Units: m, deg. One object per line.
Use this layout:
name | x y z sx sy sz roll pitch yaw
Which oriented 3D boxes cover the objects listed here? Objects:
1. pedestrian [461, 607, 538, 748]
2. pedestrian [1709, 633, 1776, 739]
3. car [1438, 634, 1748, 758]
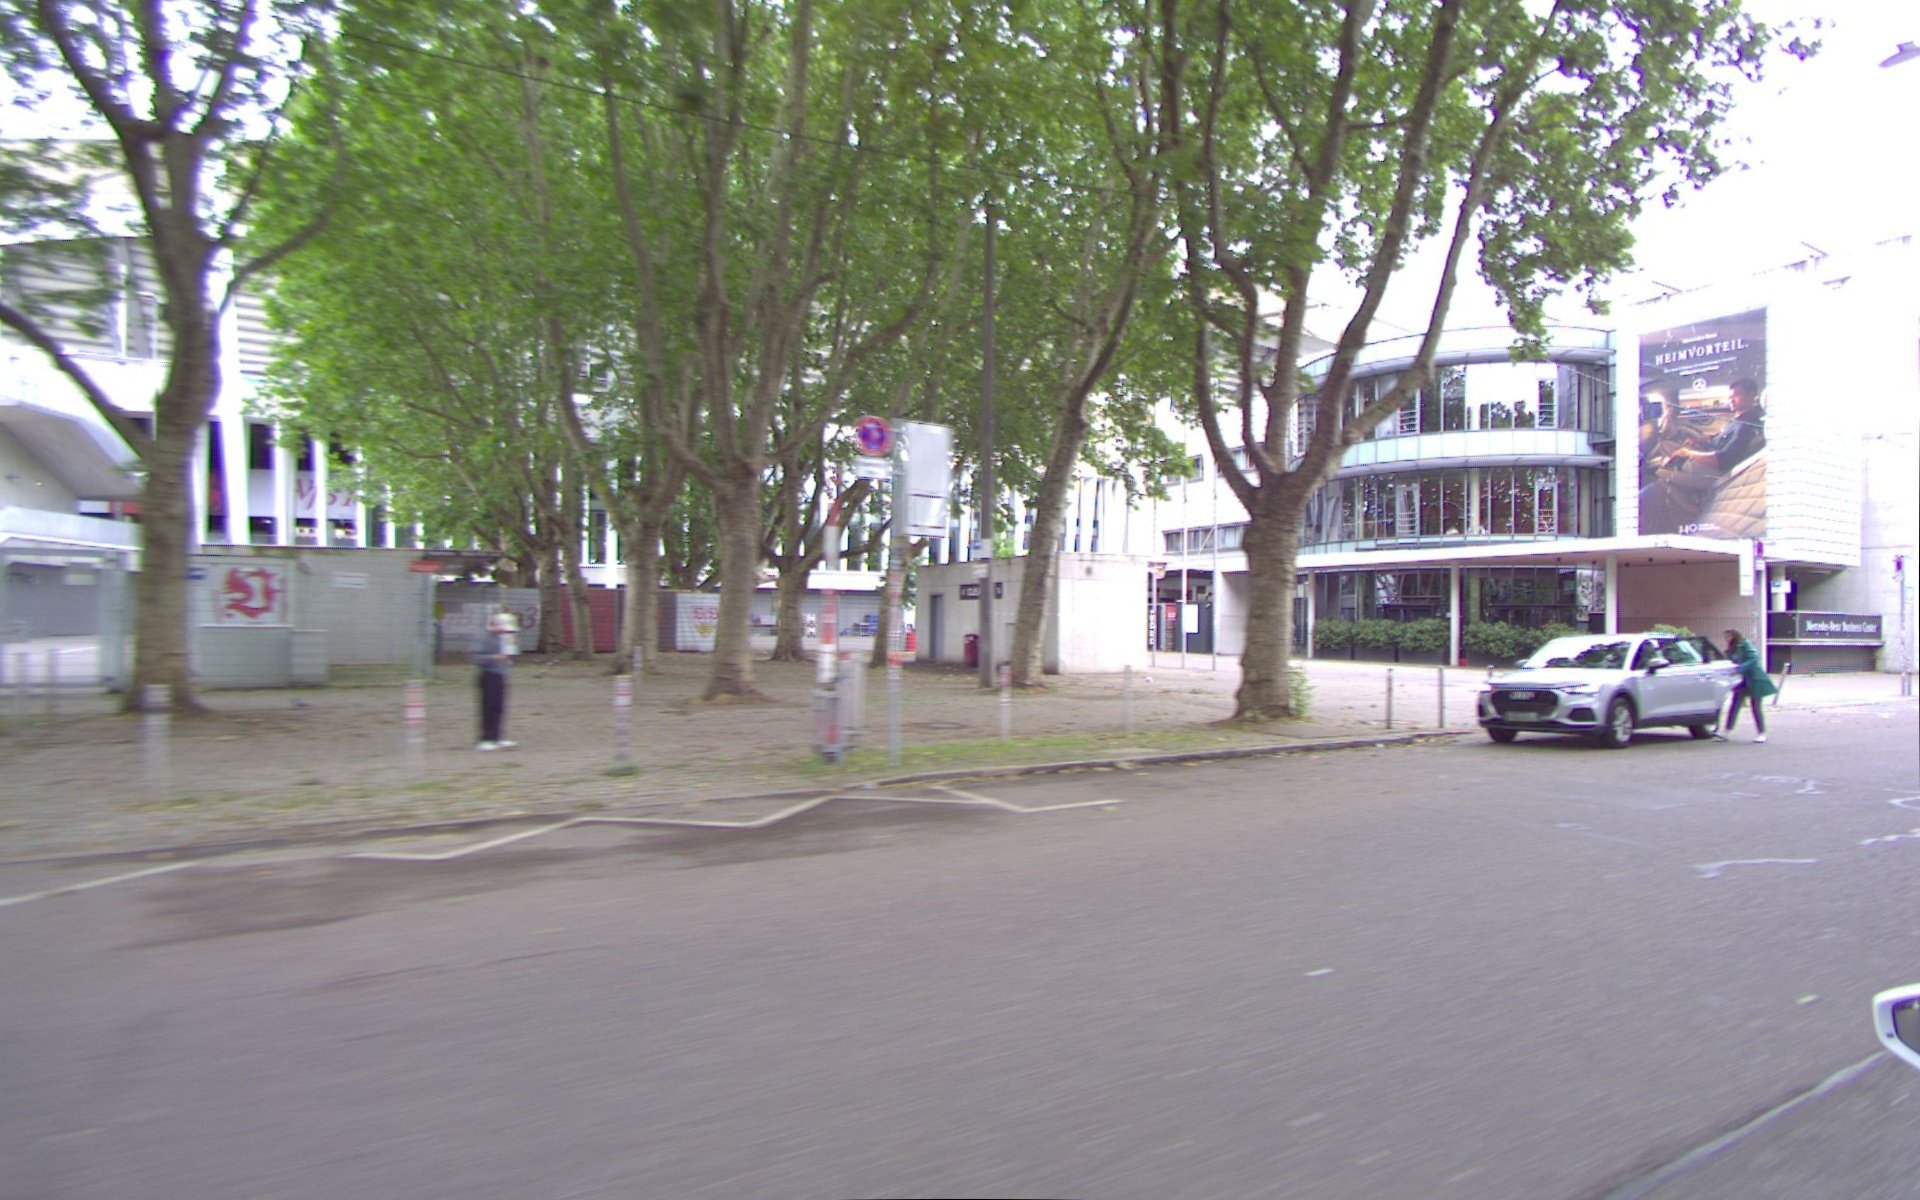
pedestrian | -5.537 0.911 12.115 0.780 1.641 0.591 1 -1 -21
pedestrian | 11.420 1.235 14.670 0.560 1.486 0.581 1 0 -27
car | 9.603 1.313 15.169 4.700 1.583 2.063 1 -1 -31
